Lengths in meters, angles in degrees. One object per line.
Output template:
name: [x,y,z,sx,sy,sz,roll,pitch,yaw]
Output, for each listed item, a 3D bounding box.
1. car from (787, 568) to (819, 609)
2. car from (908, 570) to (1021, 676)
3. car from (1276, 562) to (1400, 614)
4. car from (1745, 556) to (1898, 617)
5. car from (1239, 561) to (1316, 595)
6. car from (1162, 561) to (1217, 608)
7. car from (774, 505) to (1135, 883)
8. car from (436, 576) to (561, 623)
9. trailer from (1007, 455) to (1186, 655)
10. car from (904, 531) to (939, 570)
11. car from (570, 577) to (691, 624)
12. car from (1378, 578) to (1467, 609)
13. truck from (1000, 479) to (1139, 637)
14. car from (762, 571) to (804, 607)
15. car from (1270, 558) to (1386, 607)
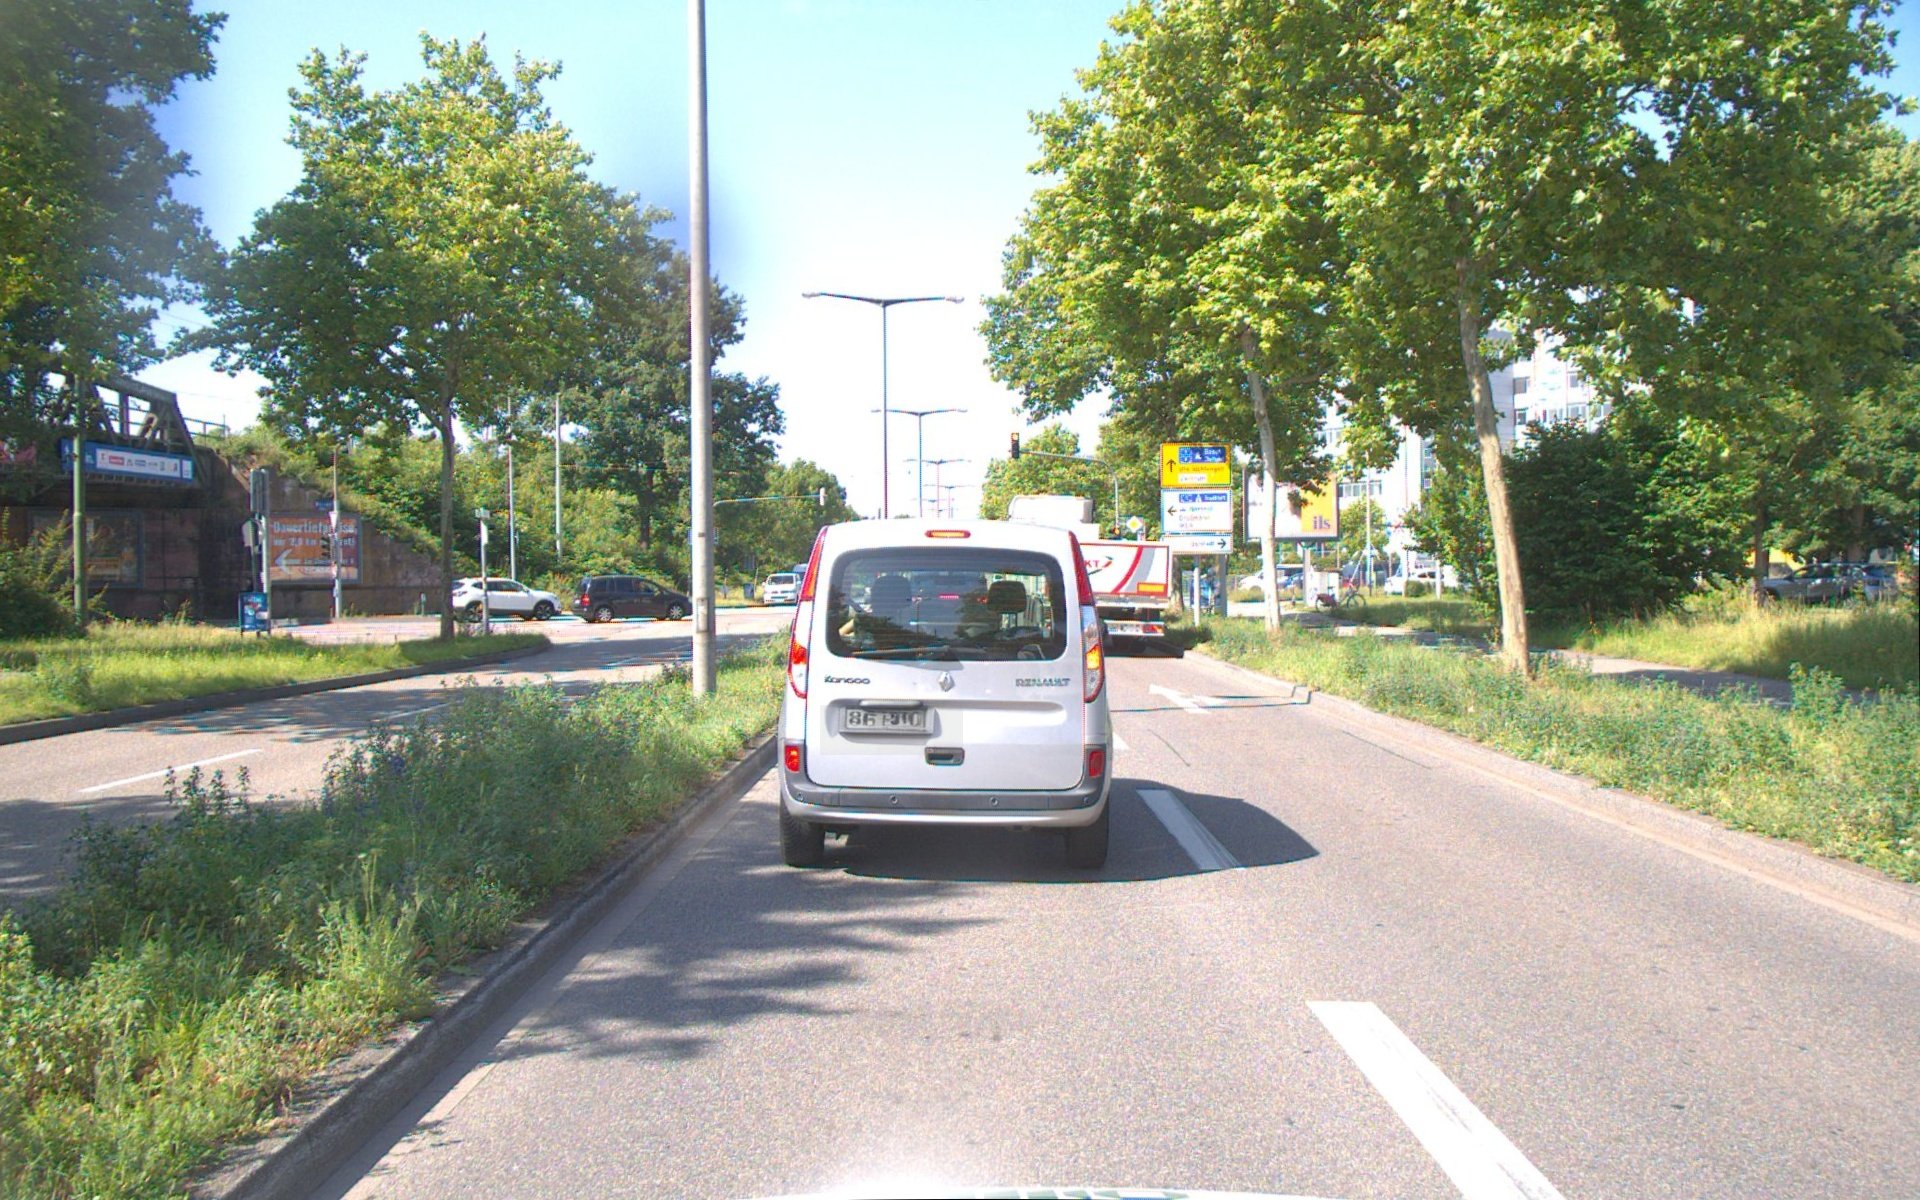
car: [-10.719,-0.781,112.388,2.019,2.659,5.861,1,0,-7]
car: [0.012,0.364,28.971,1.773,1.713,3.998,1,0,-3]
car: [12.817,-0.397,56.288,3.903,1.691,1.724,1,0,5]
car: [25.382,-0.403,48.805,3.684,1.746,1.757,1,0,43]
car: [19.911,-1.374,103.853,4.433,2.049,1.999,1,0,-2]
car: [9.277,-0.614,67.004,1.778,1.826,3.444,1,0,1]
car: [-0.056,0.440,9.921,1.713,1.803,3.948,1,0,-1]
car: [-17.109,-0.015,61.406,4.072,1.655,1.974,0,0,-38]
trailer: [2.789,-0.901,37.757,2.954,3.806,12.239,1,0,0]
car: [-2.178,-2.764,92.883,1.681,2.049,3.995,1,0,-6]
car: [-11.787,0.018,59.149,3.934,1.601,1.925,1,0,-24]
car: [22.493,-0.306,80.465,4.398,1.452,1.711,0,0,-33]
truck: [2.763,-1.054,44.082,3.009,3.823,7.474,1,0,-1]
car: [-10.244,-0.633,95.849,1.953,1.924,4.986,-2,0,-1]
car: [13.275,-0.632,59.841,3.903,1.691,1.724,1,0,5]
